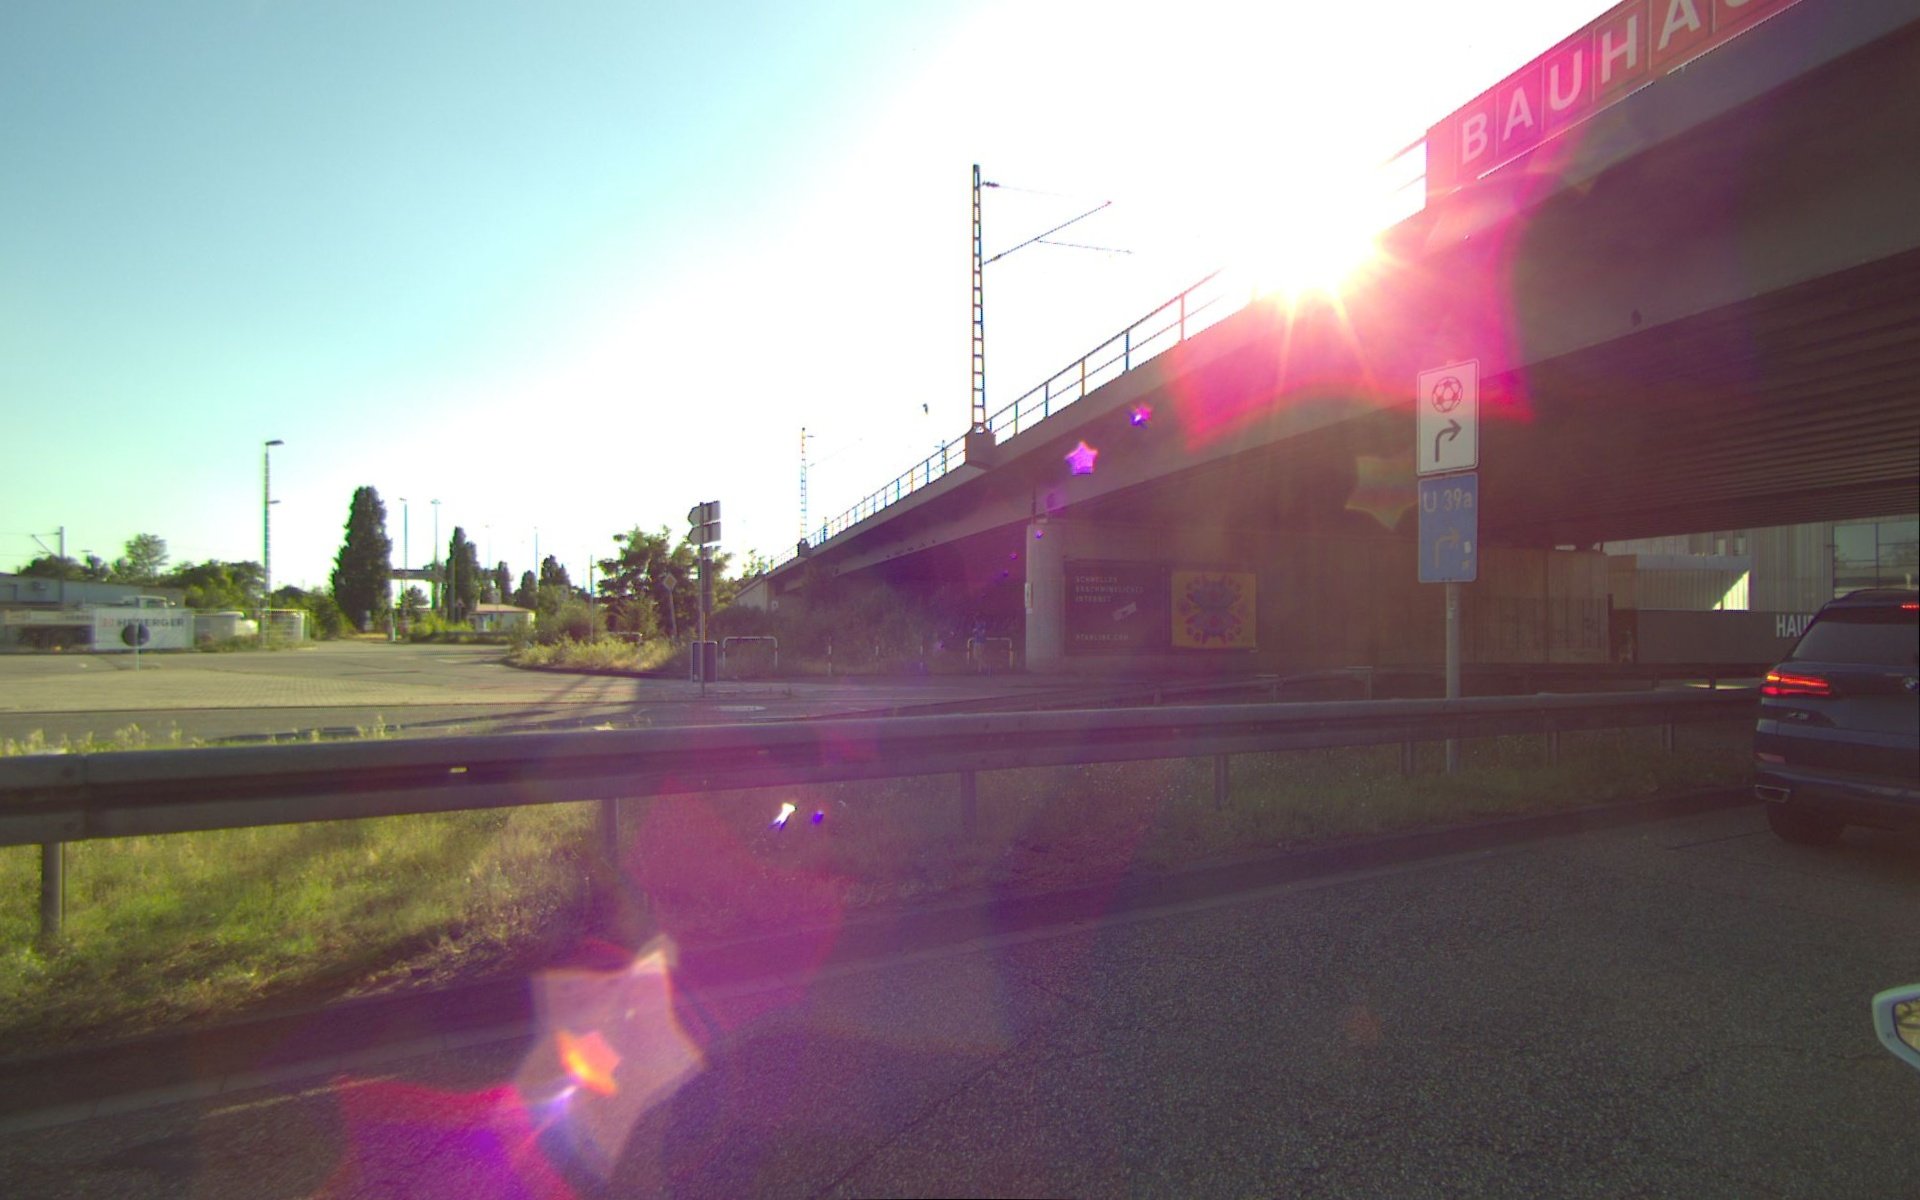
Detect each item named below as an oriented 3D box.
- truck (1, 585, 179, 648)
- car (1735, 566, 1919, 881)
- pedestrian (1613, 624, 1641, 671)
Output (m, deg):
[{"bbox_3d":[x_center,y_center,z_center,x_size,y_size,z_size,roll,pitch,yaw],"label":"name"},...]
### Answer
[{"bbox_3d":[-46.708,0.959,54.172,2.393,3.186,6.775,1,-2,25],"label":"truck"},{"bbox_3d":[7.314,0.776,6.716,4.408,1.761,1.821,3,-2,-29],"label":"car"},{"bbox_3d":[27.295,1.937,41.092,0.656,1.928,0.692,2,-1,-25],"label":"pedestrian"}]
